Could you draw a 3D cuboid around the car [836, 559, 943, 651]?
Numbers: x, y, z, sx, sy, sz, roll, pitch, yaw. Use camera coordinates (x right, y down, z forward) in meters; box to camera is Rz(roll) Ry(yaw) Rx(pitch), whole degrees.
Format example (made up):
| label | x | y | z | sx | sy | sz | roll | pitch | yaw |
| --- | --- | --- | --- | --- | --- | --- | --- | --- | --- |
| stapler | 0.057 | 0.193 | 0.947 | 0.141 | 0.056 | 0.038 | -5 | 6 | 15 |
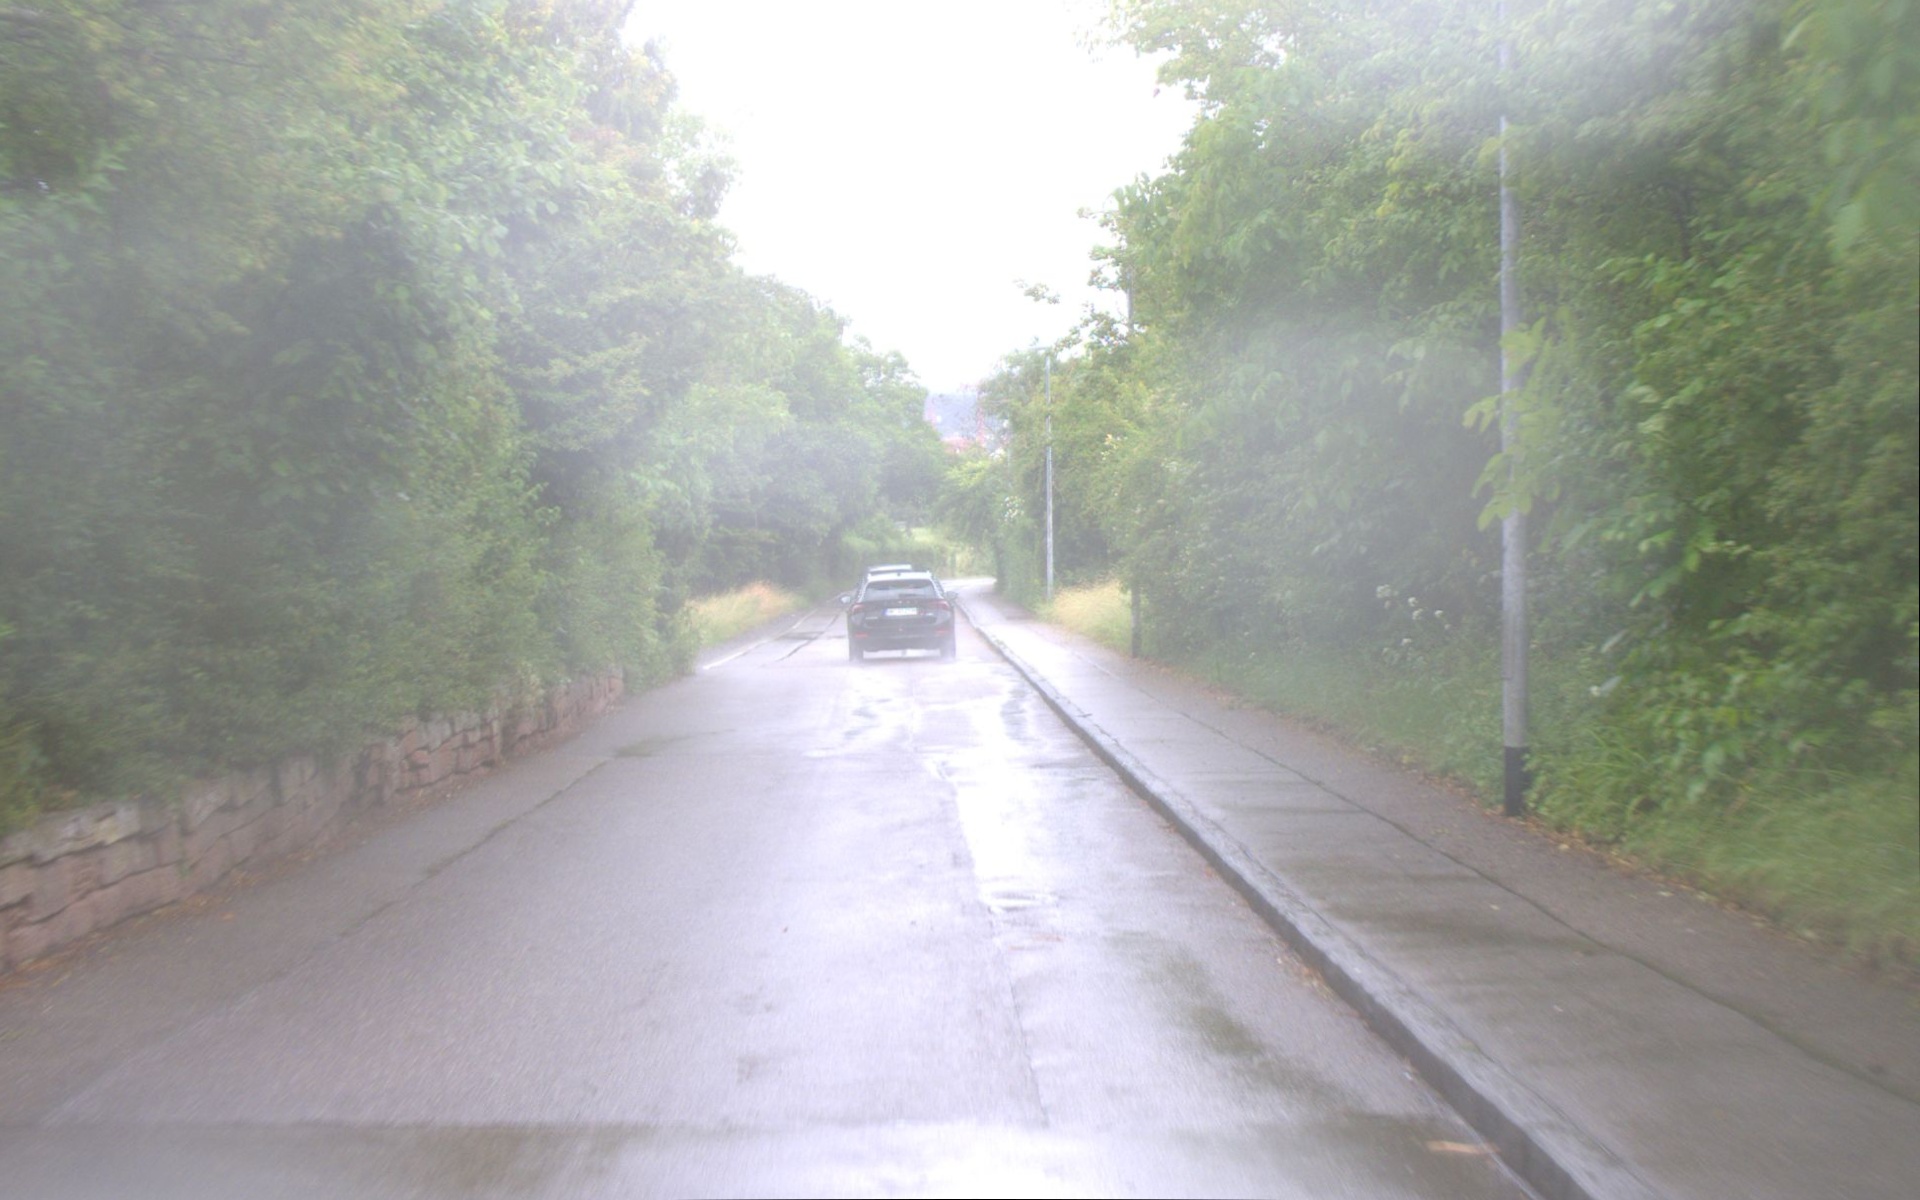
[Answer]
| label | x | y | z | sx | sy | sz | roll | pitch | yaw |
| --- | --- | --- | --- | --- | --- | --- | --- | --- | --- |
| car | -1.139 | 0.099 | 57.003 | 1.634 | 1.445 | 3.544 | -1 | 0 | 1 |
